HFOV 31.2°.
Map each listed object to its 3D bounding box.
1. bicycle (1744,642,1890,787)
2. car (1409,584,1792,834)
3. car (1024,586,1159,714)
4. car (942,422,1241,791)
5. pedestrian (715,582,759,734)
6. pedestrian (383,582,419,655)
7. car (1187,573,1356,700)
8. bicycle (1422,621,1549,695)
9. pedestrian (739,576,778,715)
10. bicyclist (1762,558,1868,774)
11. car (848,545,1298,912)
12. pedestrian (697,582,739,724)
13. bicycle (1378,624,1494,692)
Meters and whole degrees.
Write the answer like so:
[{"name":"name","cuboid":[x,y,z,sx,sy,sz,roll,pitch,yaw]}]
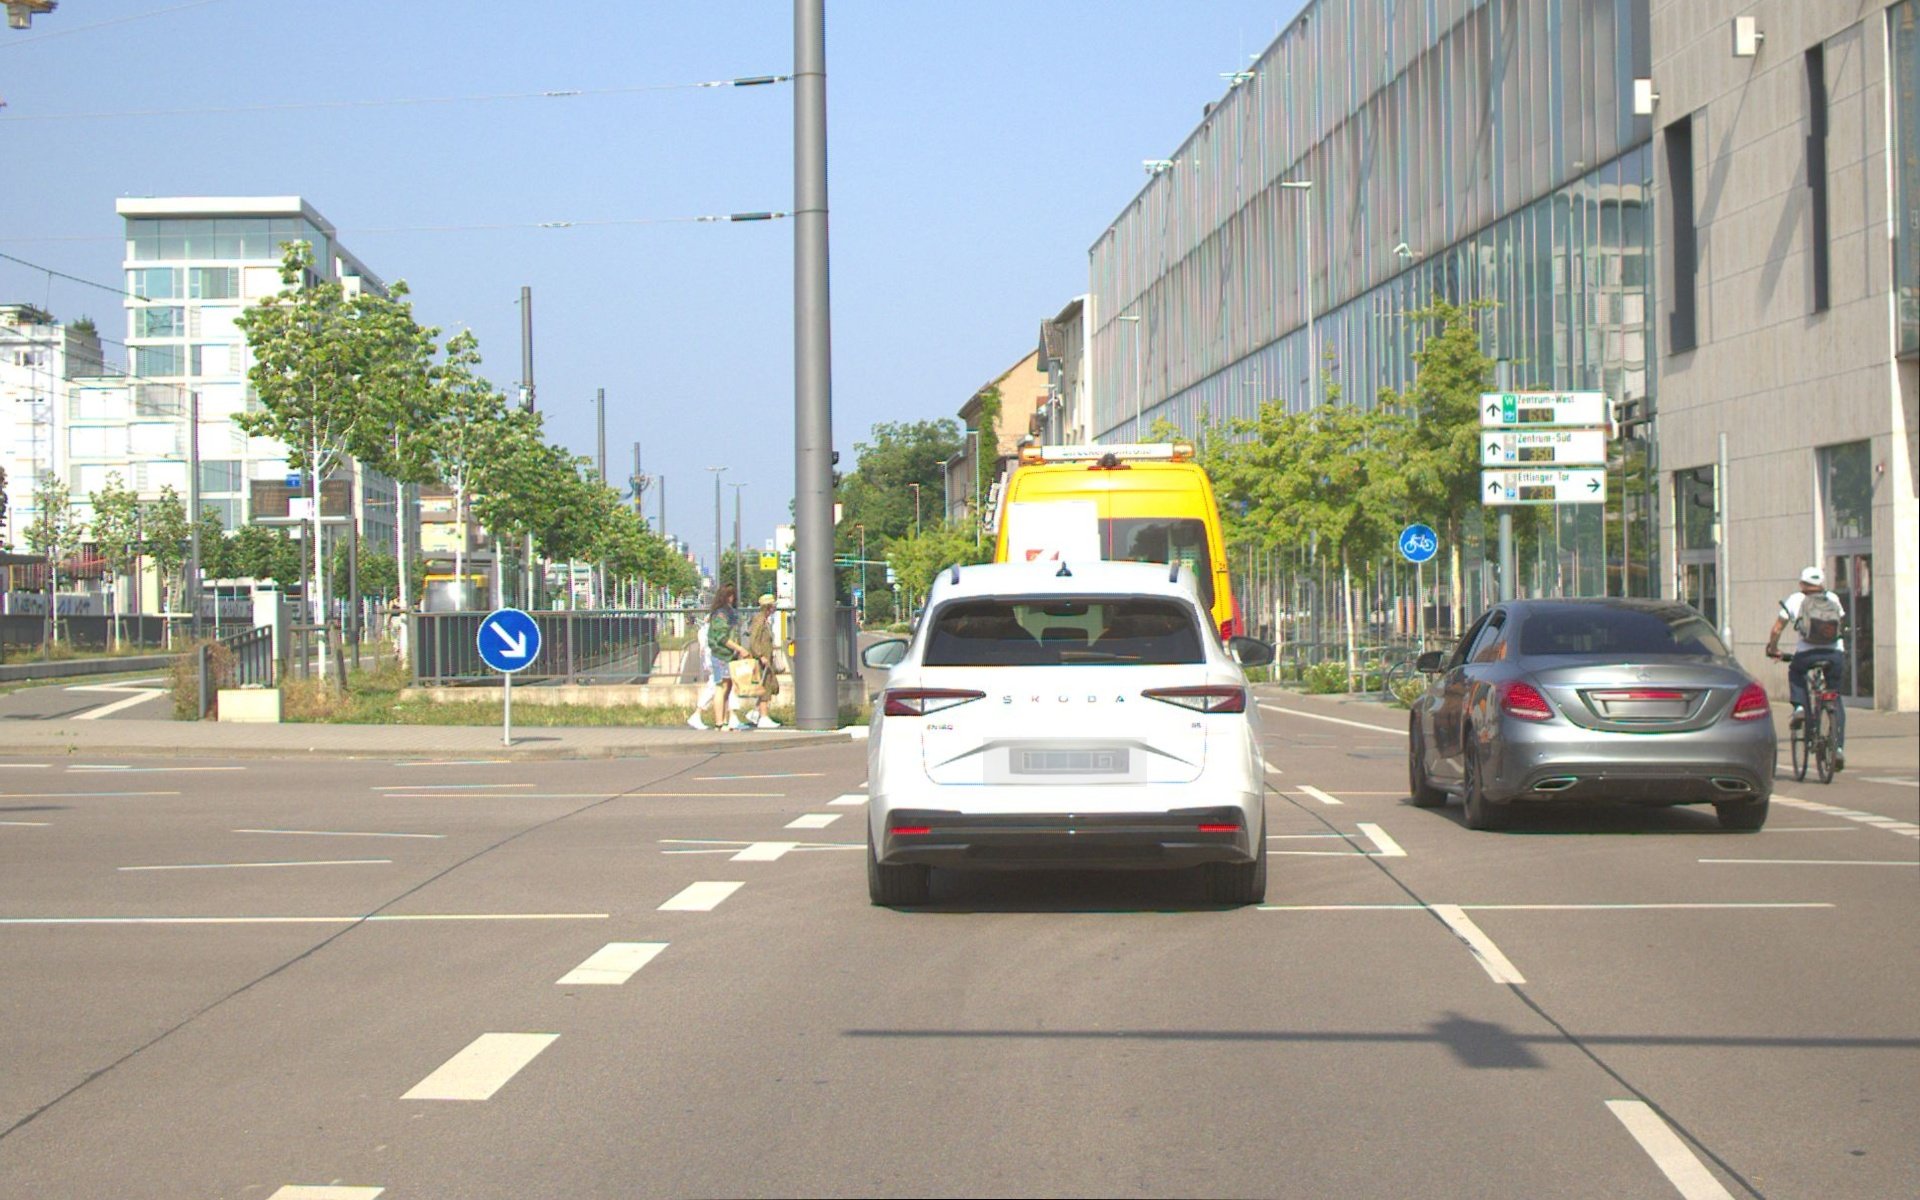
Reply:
[{"name":"bicycle","cuboid":[7.042,0.924,28.326,0.661,1.113,2.051,-1,0,0]},{"name":"car","cuboid":[3.949,0.620,21.823,1.760,1.431,4.115,0,0,2]},{"name":"car","cuboid":[1.971,0.752,52.538,1.709,1.856,3.794,1,0,-3]},{"name":"car","cuboid":[0.987,0.018,28.864,2.020,2.786,5.401,-1,1,-3]},{"name":"pedestrian","cuboid":[-2.445,0.627,37.673,0.467,1.644,0.777,0,0,-3]},{"name":"pedestrian","cuboid":[-12.421,0.419,76.413,0.735,1.613,0.711,0,0,-4]},{"name":"car","cuboid":[4.686,0.525,52.297,1.950,1.844,4.436,-1,0,-3]},{"name":"bicycle","cuboid":[8.189,0.896,53.622,1.839,1.109,0.687,1,0,-1]},{"name":"pedestrian","cuboid":[-2.406,0.541,41.066,0.467,1.644,0.777,0,0,-3]},{"name":"bicyclist","cuboid":[7.038,0.535,28.325,0.651,1.743,0.769,-1,0,0]},{"name":"car","cuboid":[0.425,0.549,16.881,1.869,1.569,4.000,-1,0,-3]},{"name":"pedestrian","cuboid":[-2.818,0.611,40.047,0.467,1.644,0.777,0,0,-3]},{"name":"bicycle","cuboid":[8.000,0.973,57.796,1.878,1.105,0.490,-1,0,-1]}]
